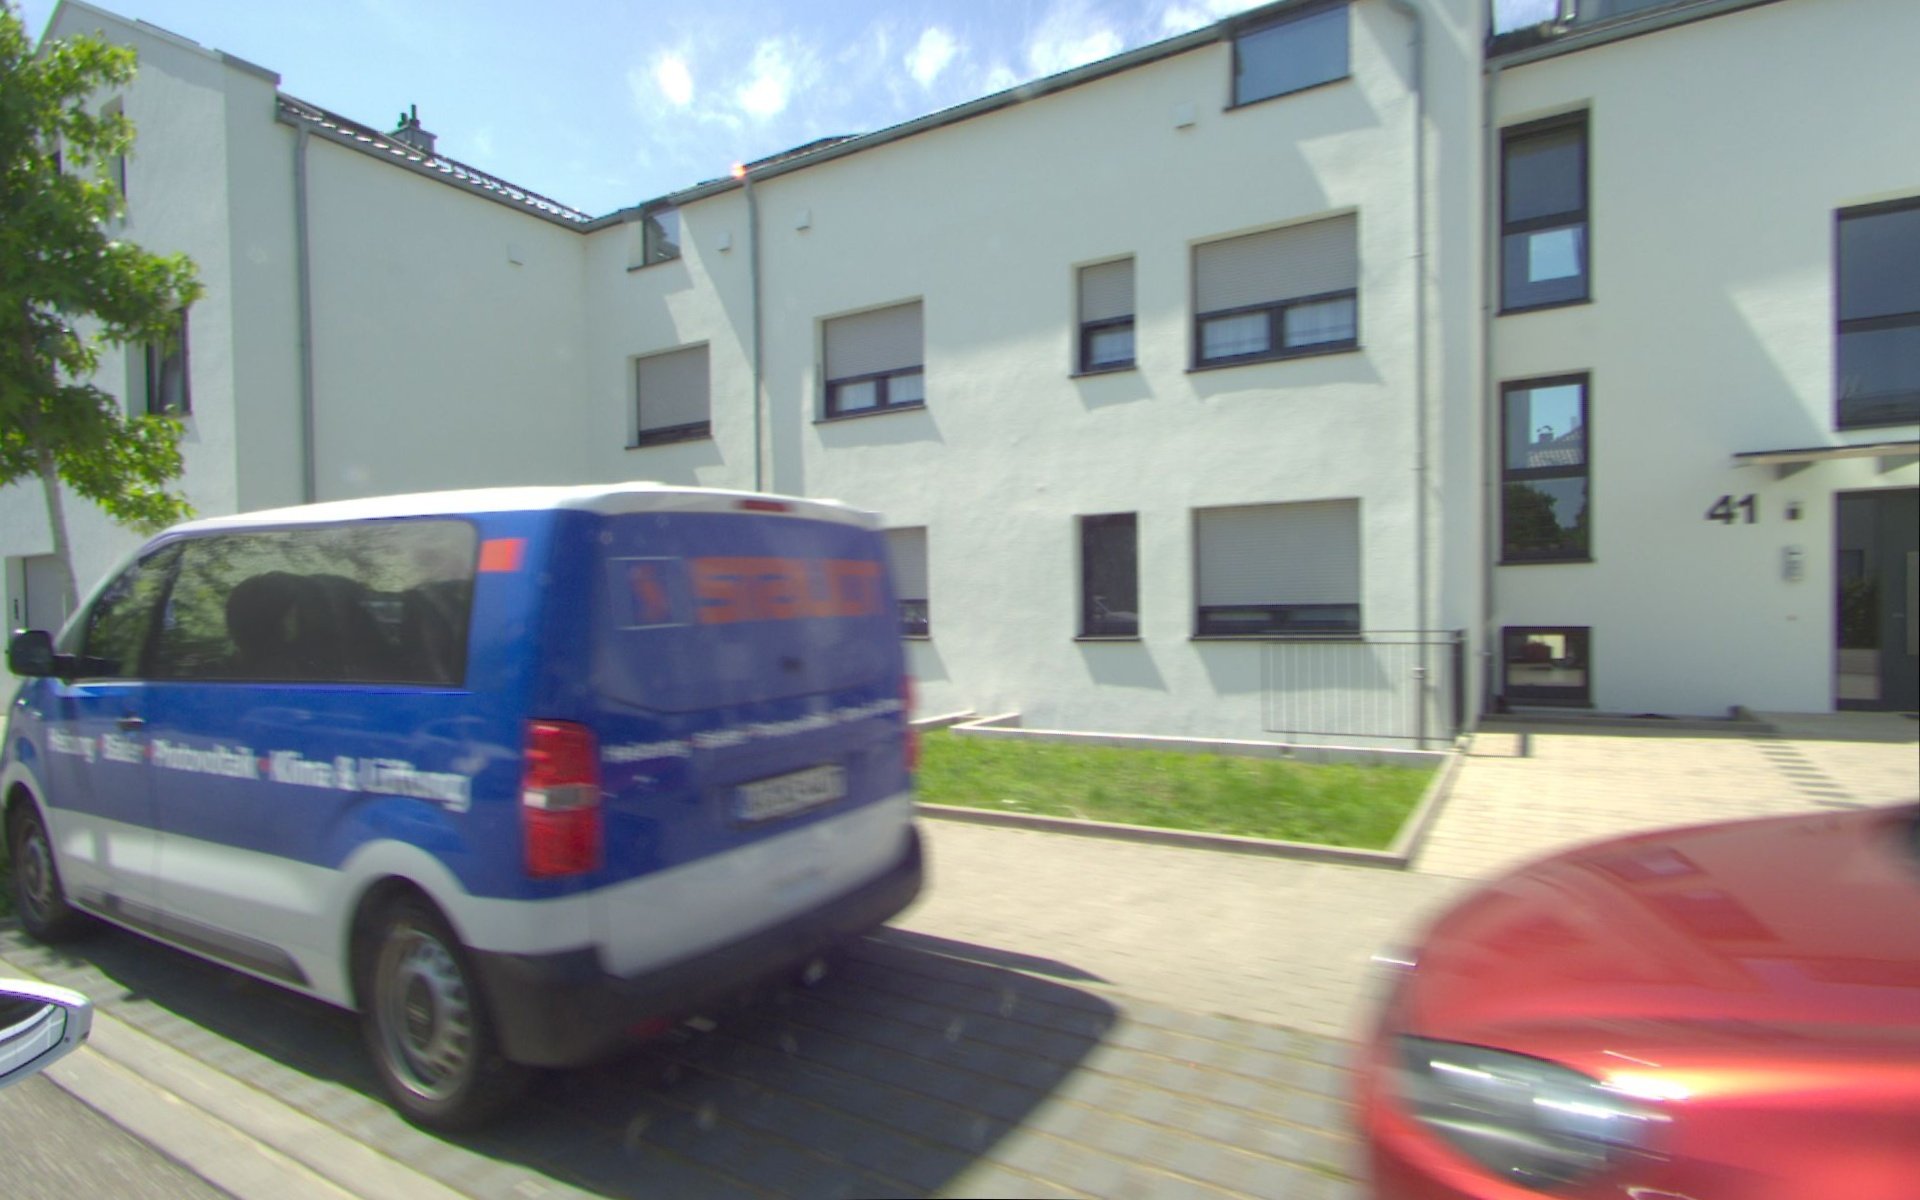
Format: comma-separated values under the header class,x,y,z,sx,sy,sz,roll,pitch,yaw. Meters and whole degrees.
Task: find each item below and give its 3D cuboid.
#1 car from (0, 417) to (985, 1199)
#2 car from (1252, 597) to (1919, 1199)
class,x,y,z,sx,sy,sz,roll,pitch,yaw
car,-2.466,0.522,4.601,4.774,1.907,2.094,0,1,33
car,2.564,0.731,1.237,3.966,1.461,1.677,0,1,30
